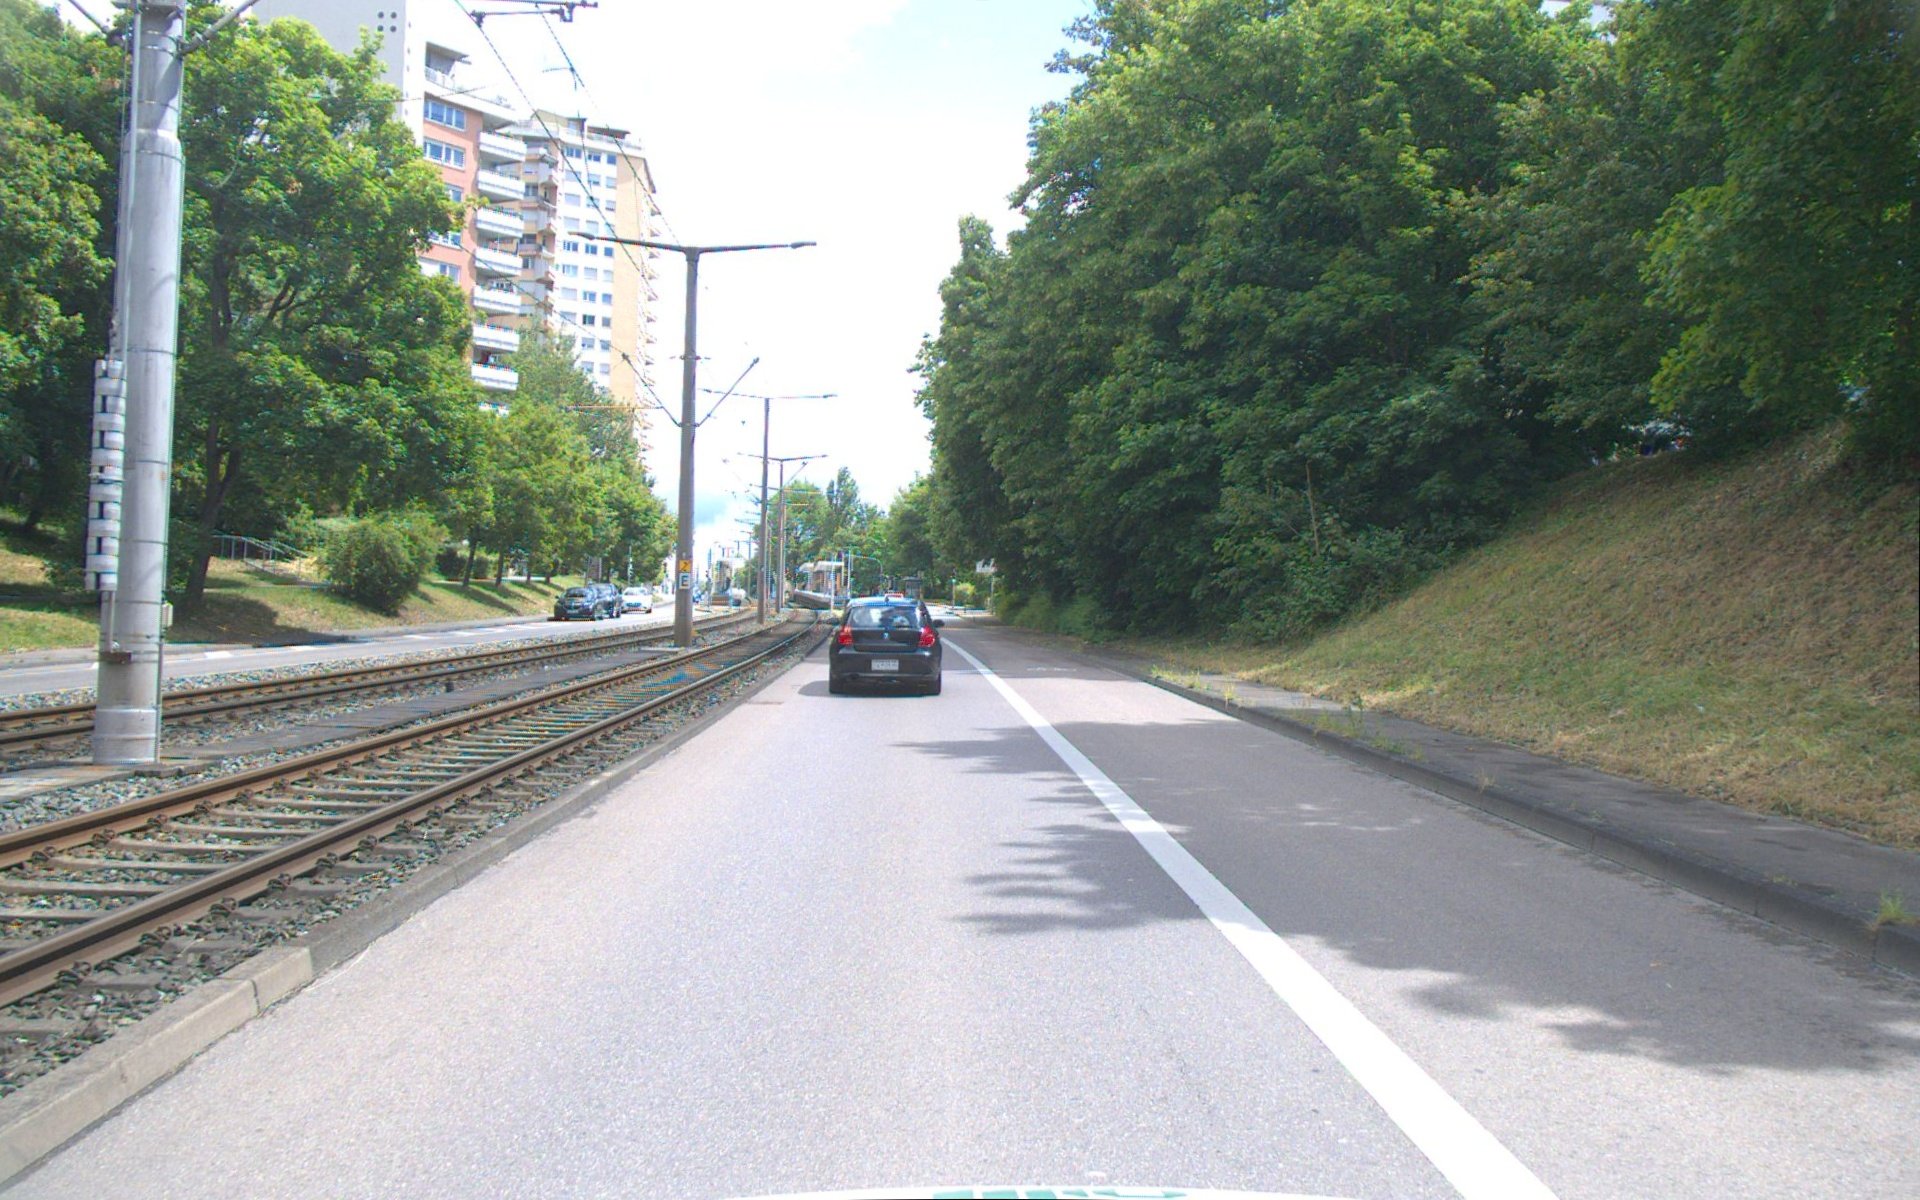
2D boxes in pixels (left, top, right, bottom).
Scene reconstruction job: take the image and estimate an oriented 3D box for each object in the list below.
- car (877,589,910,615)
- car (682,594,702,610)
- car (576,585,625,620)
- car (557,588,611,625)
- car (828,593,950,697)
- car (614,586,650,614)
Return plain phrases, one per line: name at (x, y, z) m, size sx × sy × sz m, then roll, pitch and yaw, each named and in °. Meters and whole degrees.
car at (-4.114, 0.111, 101.474) m, size 1.747 × 1.485 × 3.916 m, roll 1°, pitch 0°, yaw -6°
car at (-26.080, 0.177, 160.730) m, size 1.686 × 1.467 × 3.929 m, roll 1°, pitch 0°, yaw -13°
car at (-17.244, 0.147, 79.566) m, size 1.739 × 1.658 × 4.377 m, roll 0°, pitch -1°, yaw -5°
car at (-16.517, 0.271, 72.771) m, size 1.739 × 1.525 × 3.993 m, roll 1°, pitch 0°, yaw -5°
car at (-1.165, 0.642, 25.734) m, size 1.746 × 1.485 × 3.917 m, roll 0°, pitch 0°, yaw -4°
car at (-19.122, -0.009, 96.535) m, size 1.748 × 1.559 × 4.237 m, roll 0°, pitch 0°, yaw -8°
